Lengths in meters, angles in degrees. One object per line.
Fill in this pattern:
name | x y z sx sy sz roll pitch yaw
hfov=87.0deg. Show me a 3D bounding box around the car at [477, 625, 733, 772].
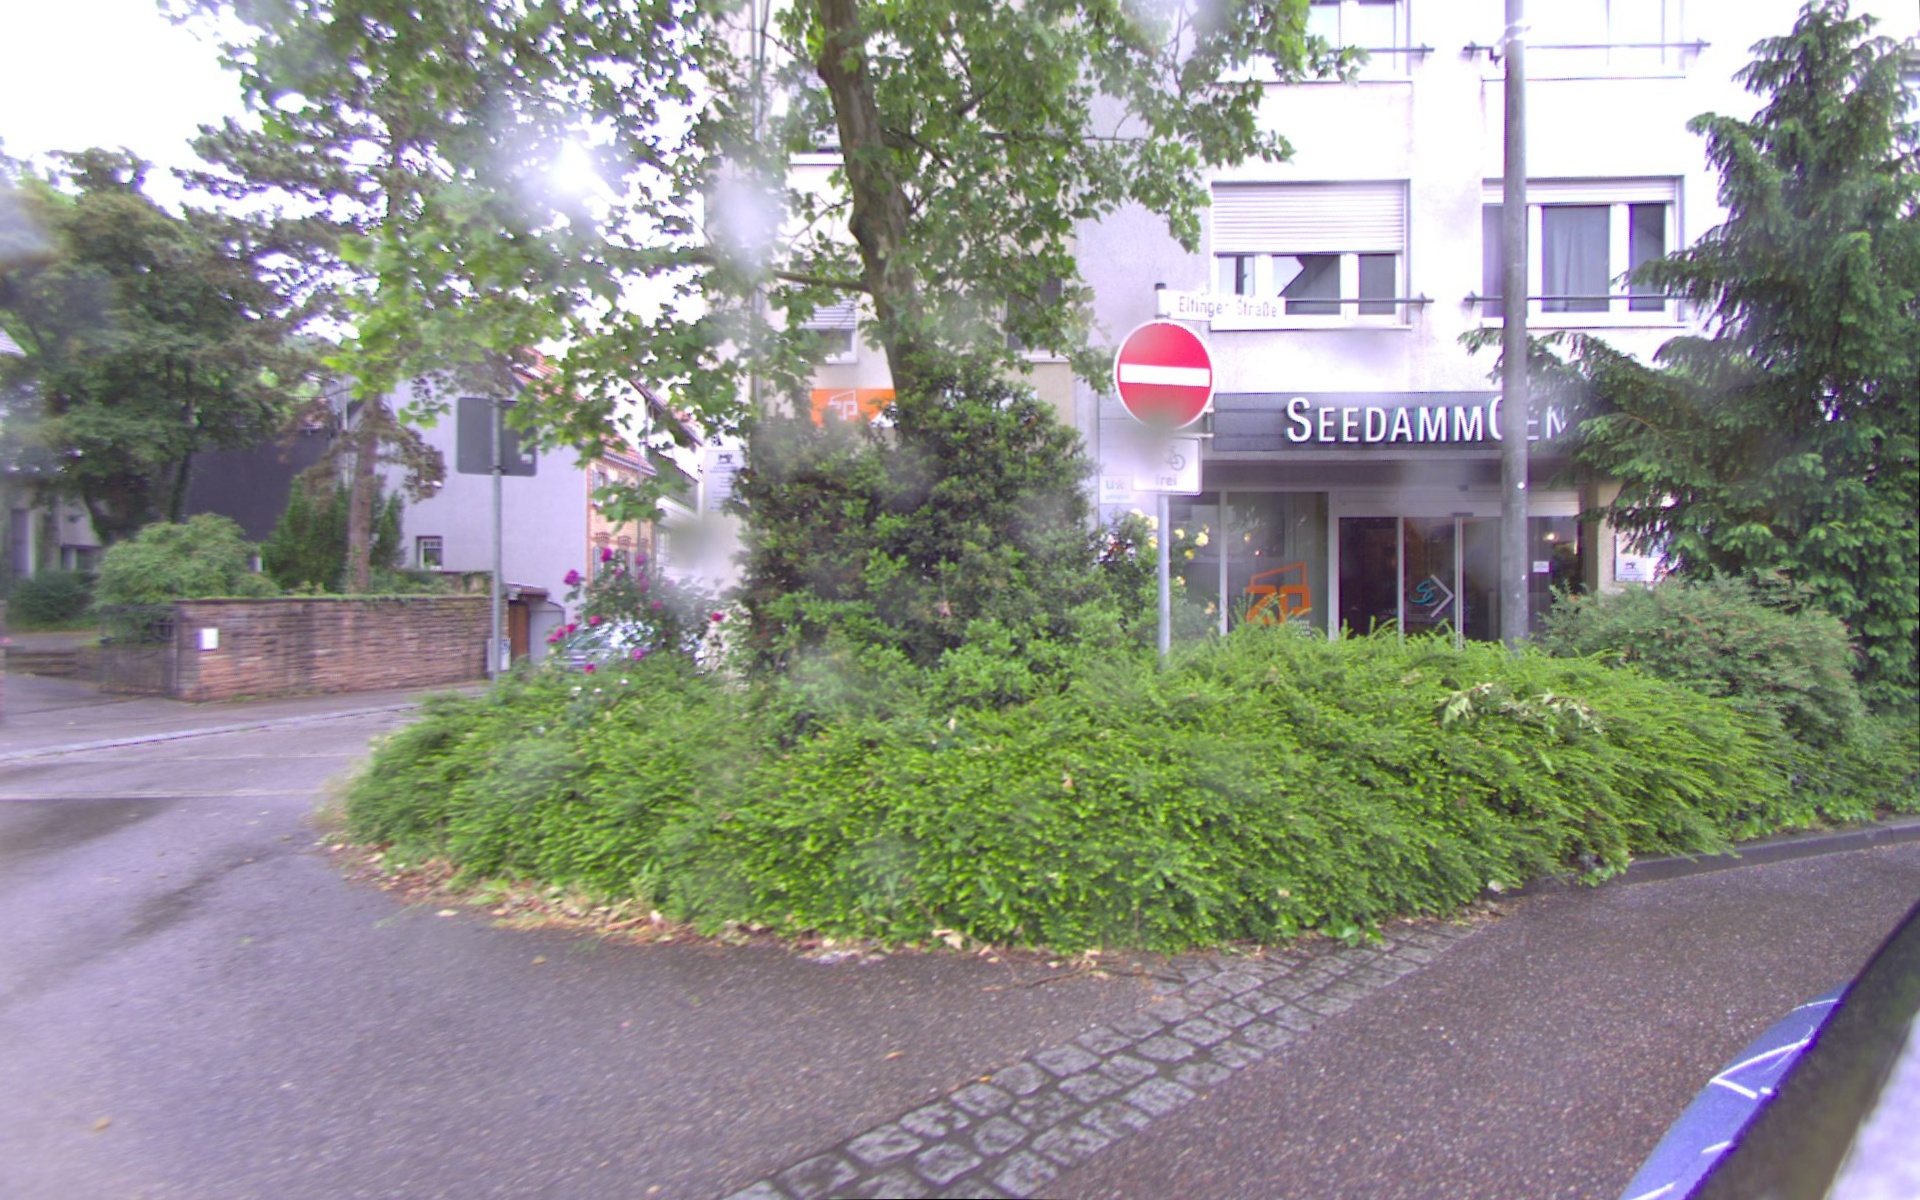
car | -5.779 1.504 17.081 1.977 1.666 3.983 16 2 13
